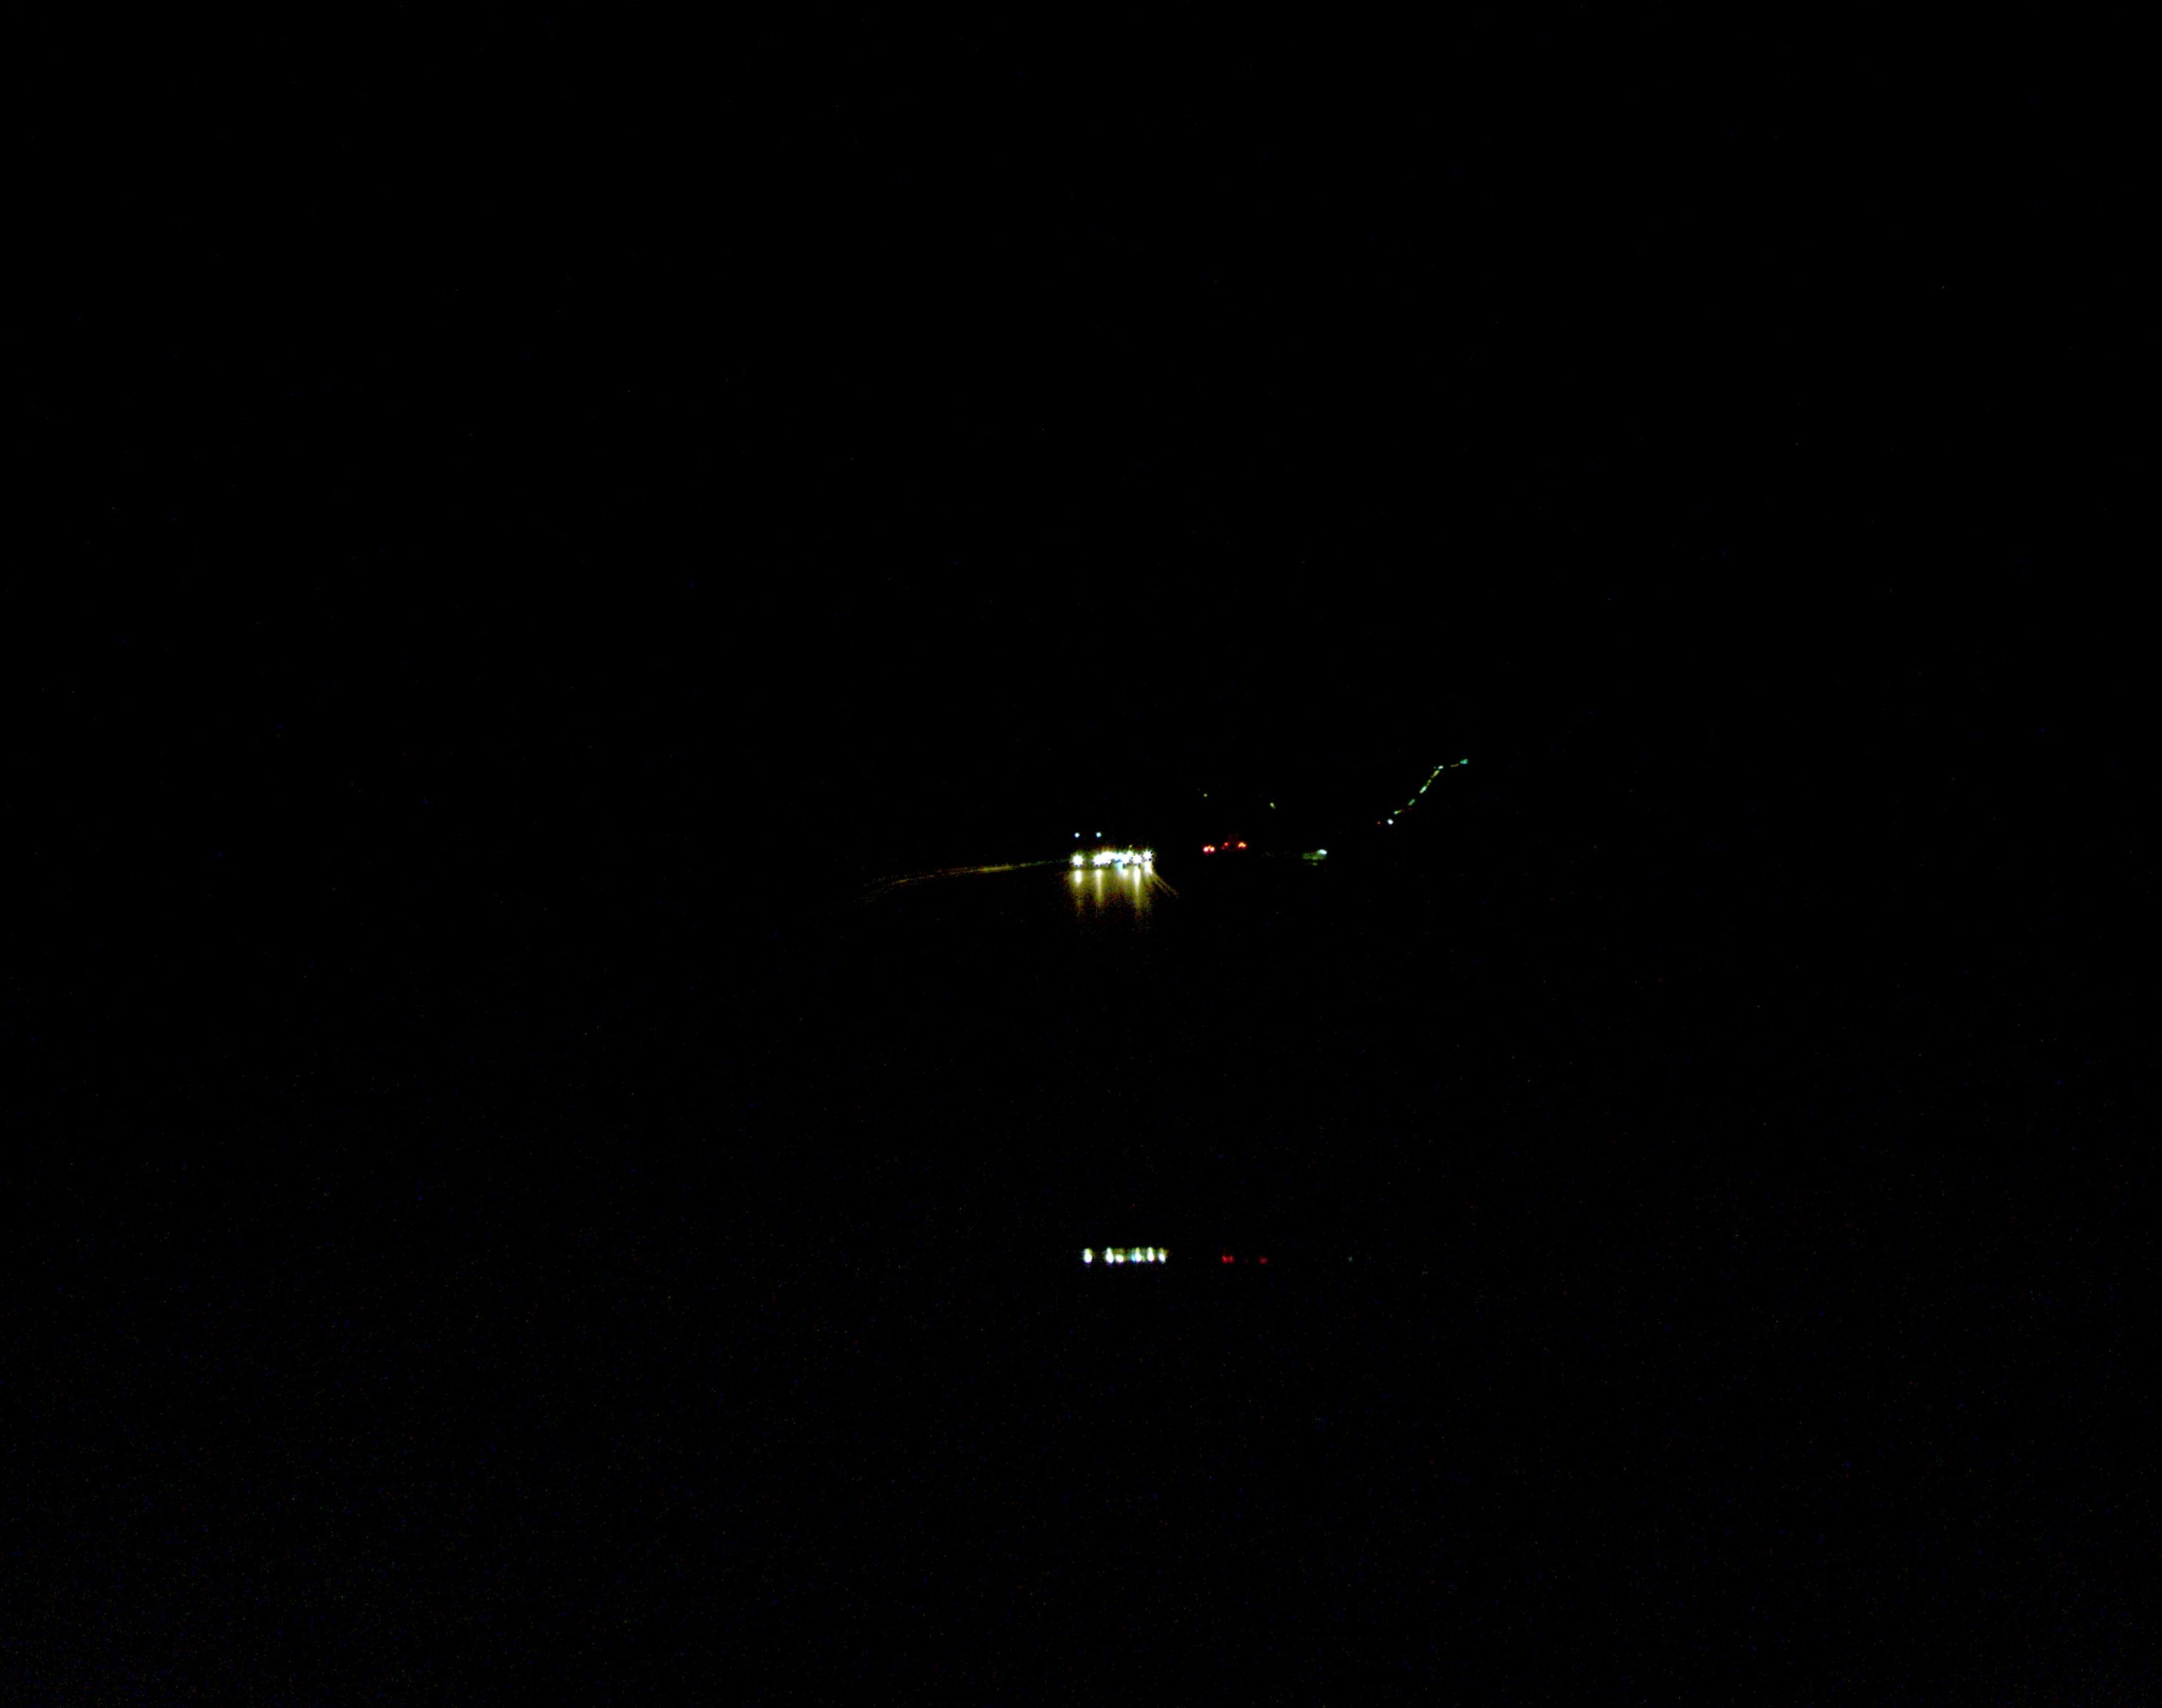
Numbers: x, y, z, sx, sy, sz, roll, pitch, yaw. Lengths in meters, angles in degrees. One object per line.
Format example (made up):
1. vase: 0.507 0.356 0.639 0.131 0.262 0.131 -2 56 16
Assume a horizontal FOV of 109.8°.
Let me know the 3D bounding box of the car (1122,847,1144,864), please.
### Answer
1. car: 4.918 0.194 71.607 1.812 1.508 3.938 -1 -1 6

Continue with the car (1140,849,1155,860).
1. car: 9.231 0.082 105.431 1.811 1.508 3.938 -1 -1 9

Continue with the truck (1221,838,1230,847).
1. truck: 44.192 -3.519 232.114 2.305 2.460 6.276 -1 2 12

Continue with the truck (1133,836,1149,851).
1. truck: 10.439 -1.748 130.945 2.425 2.410 7.094 -1 0 6

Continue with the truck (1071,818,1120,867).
1. truck: 1.726 -1.196 75.808 2.970 4.250 17.151 -1 1 7

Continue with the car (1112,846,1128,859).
1. car: 5.249 -0.230 101.709 1.690 1.619 4.725 -1 -1 7

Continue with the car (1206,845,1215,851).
1. car: 32.036 -1.491 187.422 1.811 1.508 3.940 -1 -1 14
